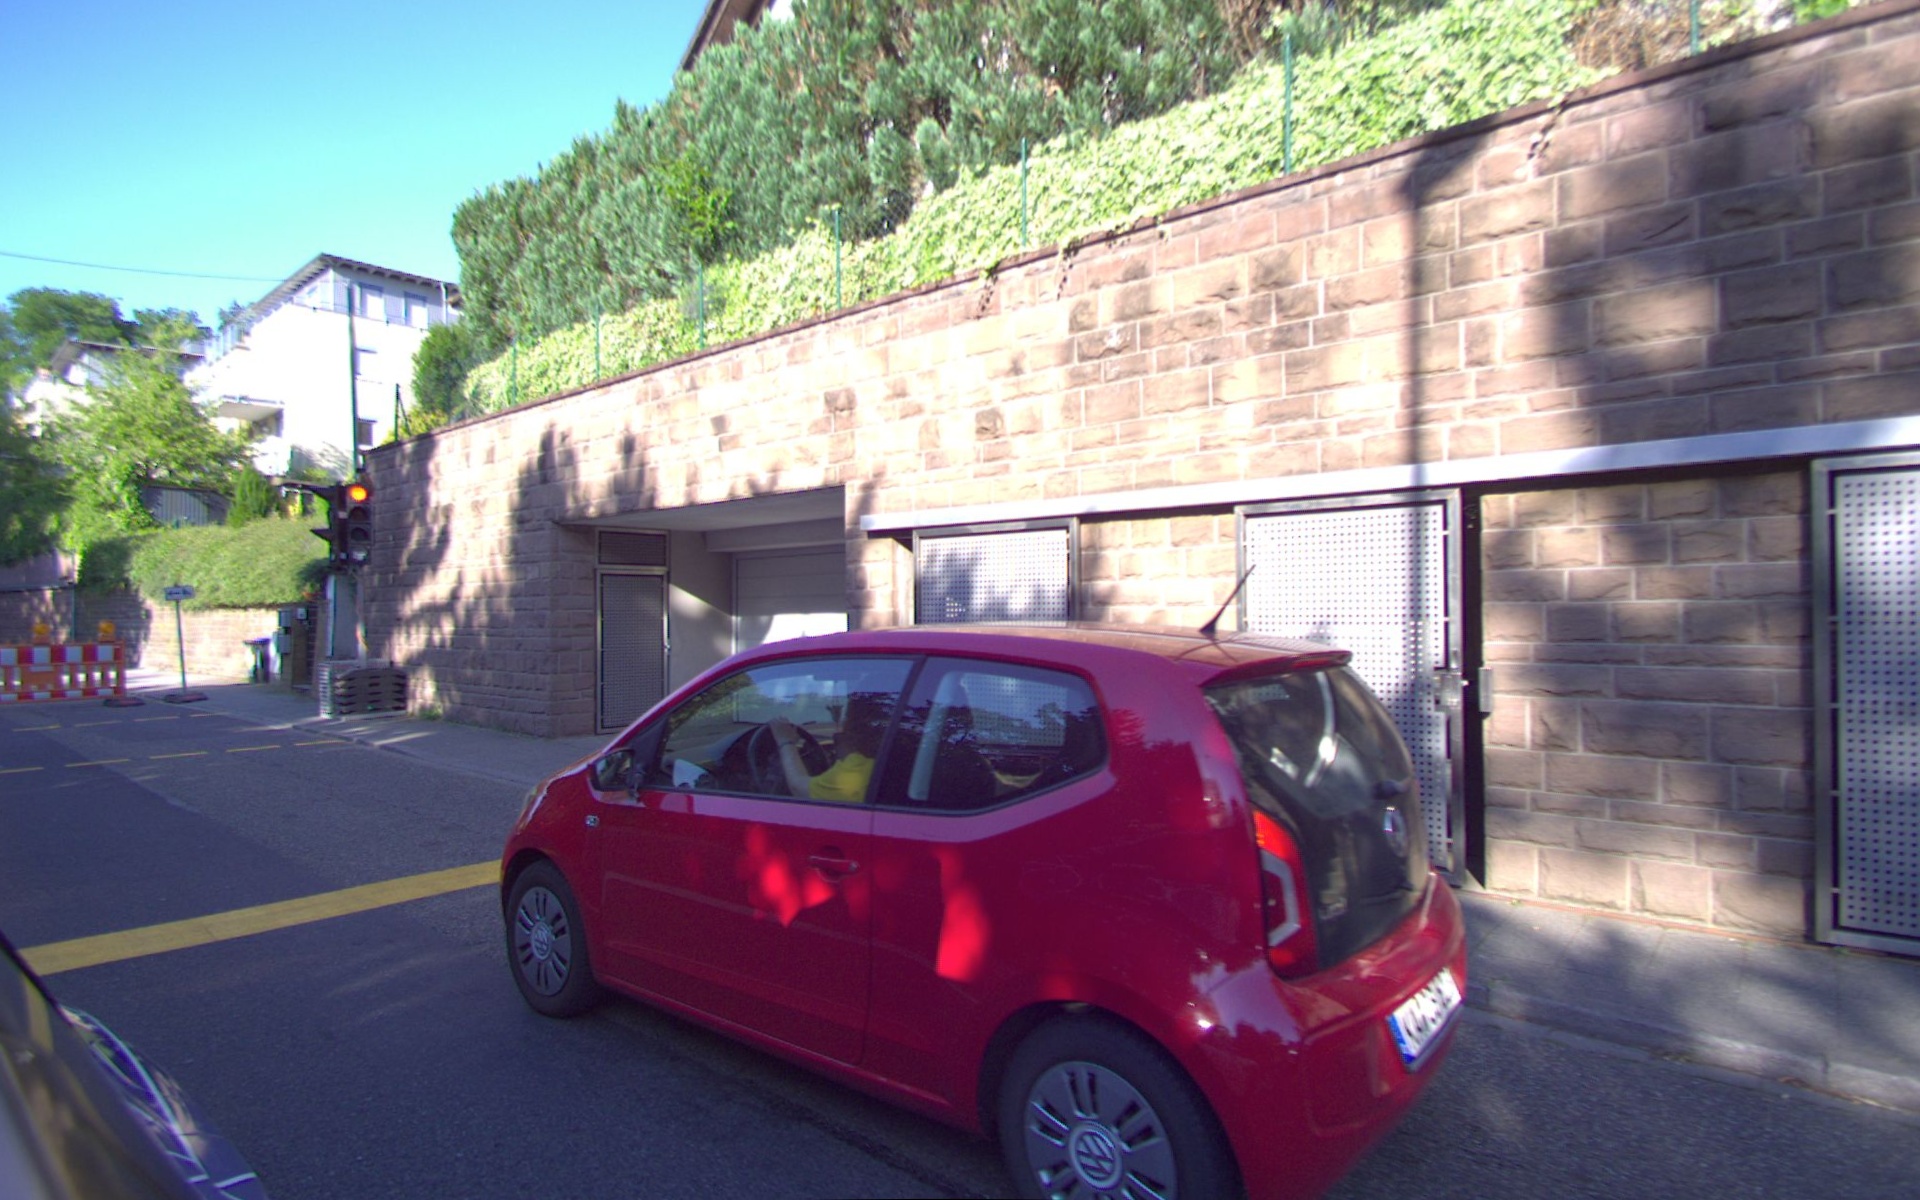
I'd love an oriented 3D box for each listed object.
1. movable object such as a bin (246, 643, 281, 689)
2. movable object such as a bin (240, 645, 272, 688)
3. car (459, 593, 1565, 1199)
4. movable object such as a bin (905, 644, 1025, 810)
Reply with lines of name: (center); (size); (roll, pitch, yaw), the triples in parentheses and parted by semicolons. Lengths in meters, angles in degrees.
movable object such as a bin: (-13.993, 1.317, 20.334); (0.500, 0.890, 0.452); (-2, 0, 39)
movable object such as a bin: (-14.376, 1.353, 20.656); (0.392, 0.840, 0.450); (-1, -1, 39)
car: (-0.089, 0.744, 3.501); (3.559, 1.432, 1.611); (-1, -2, 39)
movable object such as a bin: (0.040, 0.947, 7.852); (0.665, 1.185, 0.651); (-1, -2, 41)
